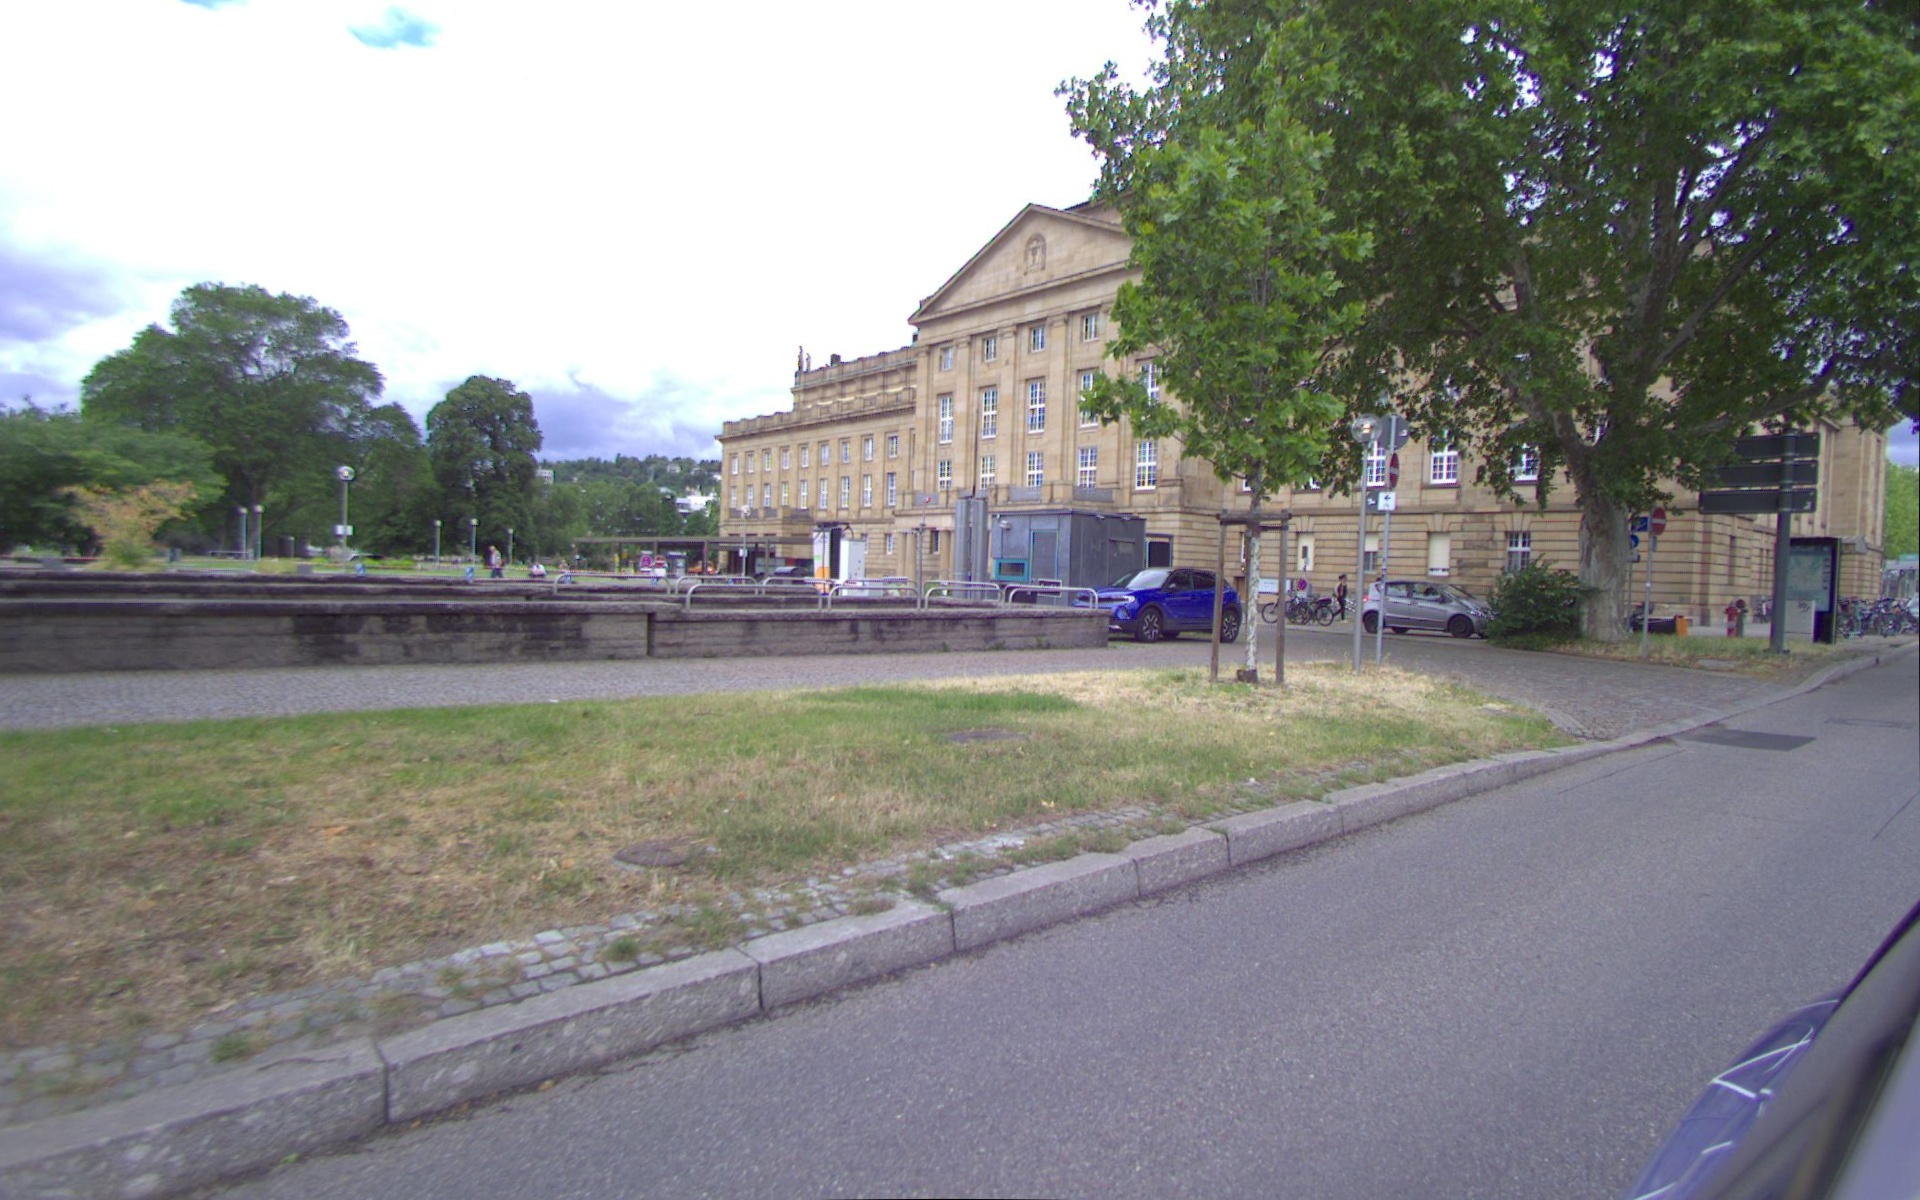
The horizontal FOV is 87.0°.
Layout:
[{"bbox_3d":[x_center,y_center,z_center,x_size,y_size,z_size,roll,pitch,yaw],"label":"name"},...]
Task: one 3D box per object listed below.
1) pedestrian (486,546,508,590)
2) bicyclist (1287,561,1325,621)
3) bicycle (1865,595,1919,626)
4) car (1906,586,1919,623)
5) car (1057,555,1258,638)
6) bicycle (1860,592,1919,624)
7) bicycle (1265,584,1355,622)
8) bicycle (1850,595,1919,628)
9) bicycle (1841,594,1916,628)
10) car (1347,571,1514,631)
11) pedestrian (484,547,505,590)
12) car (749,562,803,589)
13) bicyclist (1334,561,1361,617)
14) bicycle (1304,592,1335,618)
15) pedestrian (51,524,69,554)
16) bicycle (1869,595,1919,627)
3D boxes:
[{"bbox_3d":[-21.966,-1.525,47.988,0.799,2.039,0.768,-1,1,-32],"label":"pedestrian"},{"bbox_3d":[12.123,-0.311,35.459,1.005,2.039,1.091,2,0,33],"label":"bicyclist"},{"bbox_3d":[34.315,0.379,36.936,1.826,1.085,0.526,2,1,31],"label":"bicycle"},{"bbox_3d":[42.735,0.197,43.895,3.927,1.549,1.844,-1,3,-38],"label":"car"},{"bbox_3d":[4.145,-0.045,20.960,4.140,1.537,1.769,2,1,-38],"label":"car"},{"bbox_3d":[35.270,0.287,38.149,1.921,1.146,0.535,2,1,31],"label":"bicycle"},{"bbox_3d":[12.298,0.080,35.613,2.825,1.199,1.084,2,2,34],"label":"bicycle"},{"bbox_3d":[32.811,0.406,35.897,1.835,1.085,0.609,3,2,43],"label":"bicycle"},{"bbox_3d":[32.235,0.380,35.551,1.912,1.112,0.533,3,2,43],"label":"bicycle"},{"bbox_3d":[13.412,0.014,29.006,1.704,1.616,3.994,-1,1,-40],"label":"car"},{"bbox_3d":[-22.447,-1.531,48.775,0.799,2.039,0.859,-1,1,-31],"label":"pedestrian"},{"bbox_3d":[-12.712,-1.670,69.677,1.965,1.738,3.995,-1,1,-39],"label":"car"},{"bbox_3d":[14.305,-0.393,37.360,0.869,2.039,0.837,-1,0,24],"label":"bicyclist"},{"bbox_3d":[13.539,0.170,38.048,0.907,0.942,2.658,0,1,24],"label":"bicycle"},{"bbox_3d":[-55.855,-3.785,62.790,0.801,1.825,0.857,0,2,-41],"label":"pedestrian"},{"bbox_3d":[33.764,0.400,36.190,1.834,1.085,0.524,3,2,42],"label":"bicycle"}]
